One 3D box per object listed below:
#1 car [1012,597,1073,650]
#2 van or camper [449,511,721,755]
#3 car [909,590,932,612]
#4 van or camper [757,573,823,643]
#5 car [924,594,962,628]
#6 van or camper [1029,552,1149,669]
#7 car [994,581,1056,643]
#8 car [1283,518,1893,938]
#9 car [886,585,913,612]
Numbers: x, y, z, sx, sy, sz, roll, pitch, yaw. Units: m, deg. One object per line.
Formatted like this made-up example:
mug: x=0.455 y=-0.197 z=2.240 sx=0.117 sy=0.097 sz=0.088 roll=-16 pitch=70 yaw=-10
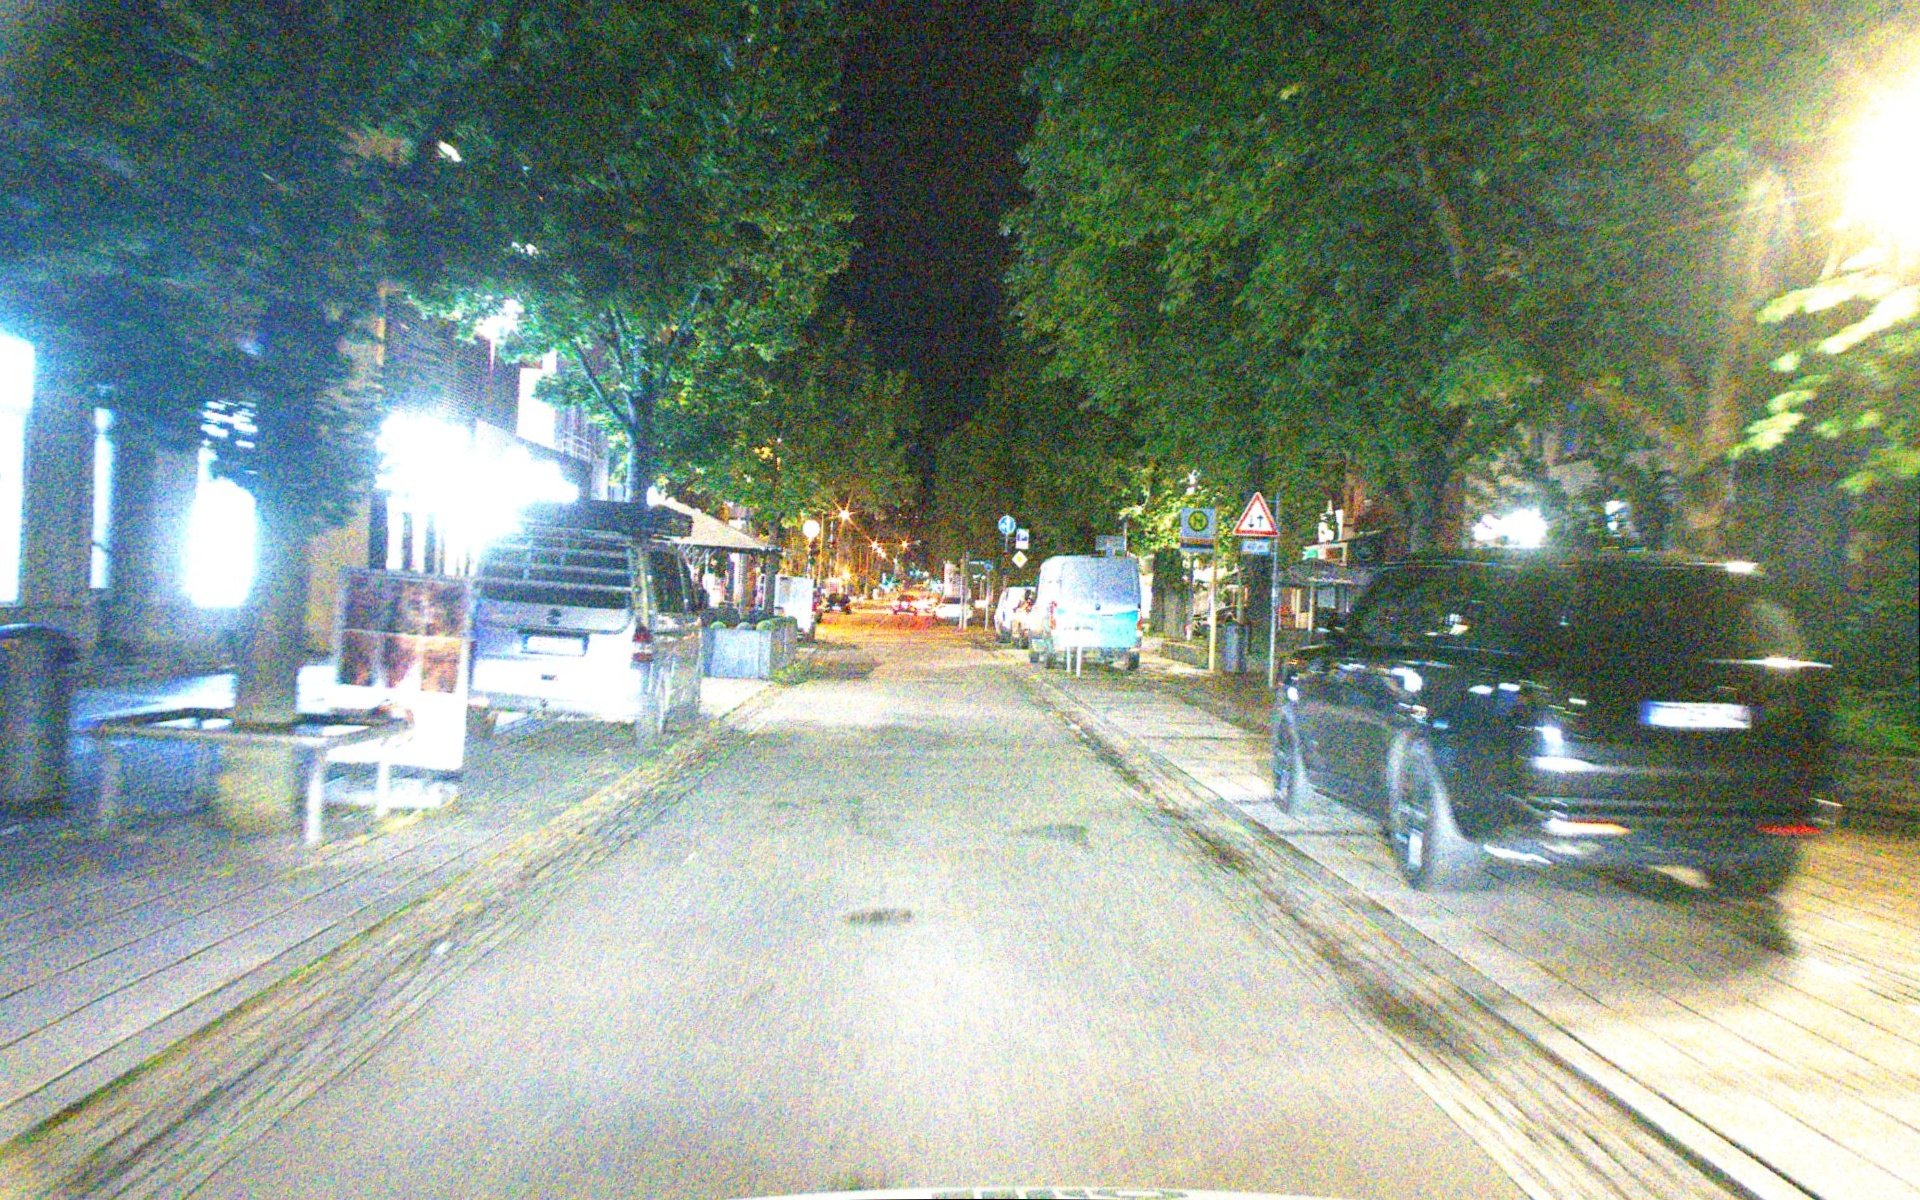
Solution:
car: x=2.383 y=0.674 z=48.630 sx=1.500 sy=1.443 sz=3.845 roll=2 pitch=0 yaw=-1
van or camper: x=-3.627 y=0.285 z=16.774 sx=1.829 sy=2.046 sz=4.260 roll=4 pitch=0 yaw=-3
car: x=-3.578 y=0.064 z=149.110 sx=1.954 sy=1.855 sz=3.998 roll=2 pitch=0 yaw=-2
van or camper: x=-5.252 y=0.233 z=51.439 sx=1.898 sy=2.023 sz=3.841 roll=2 pitch=0 yaw=-5
car: x=-0.860 y=0.519 z=82.247 sx=1.802 sy=1.569 sz=3.845 roll=2 pitch=0 yaw=-1
van or camper: x=2.705 y=0.212 z=35.717 sx=2.066 sy=2.358 sz=4.260 roll=1 pitch=0 yaw=-3
car: x=2.119 y=0.381 z=54.695 sx=1.802 sy=1.934 sz=3.845 roll=2 pitch=0 yaw=-1
car: x=3.287 y=0.579 z=9.688 sx=1.778 sy=1.860 sz=4.345 roll=2 pitch=0 yaw=-2
car: x=-4.559 y=-0.115 z=123.971 sx=1.954 sy=1.855 sz=3.998 roll=2 pitch=0 yaw=-2
